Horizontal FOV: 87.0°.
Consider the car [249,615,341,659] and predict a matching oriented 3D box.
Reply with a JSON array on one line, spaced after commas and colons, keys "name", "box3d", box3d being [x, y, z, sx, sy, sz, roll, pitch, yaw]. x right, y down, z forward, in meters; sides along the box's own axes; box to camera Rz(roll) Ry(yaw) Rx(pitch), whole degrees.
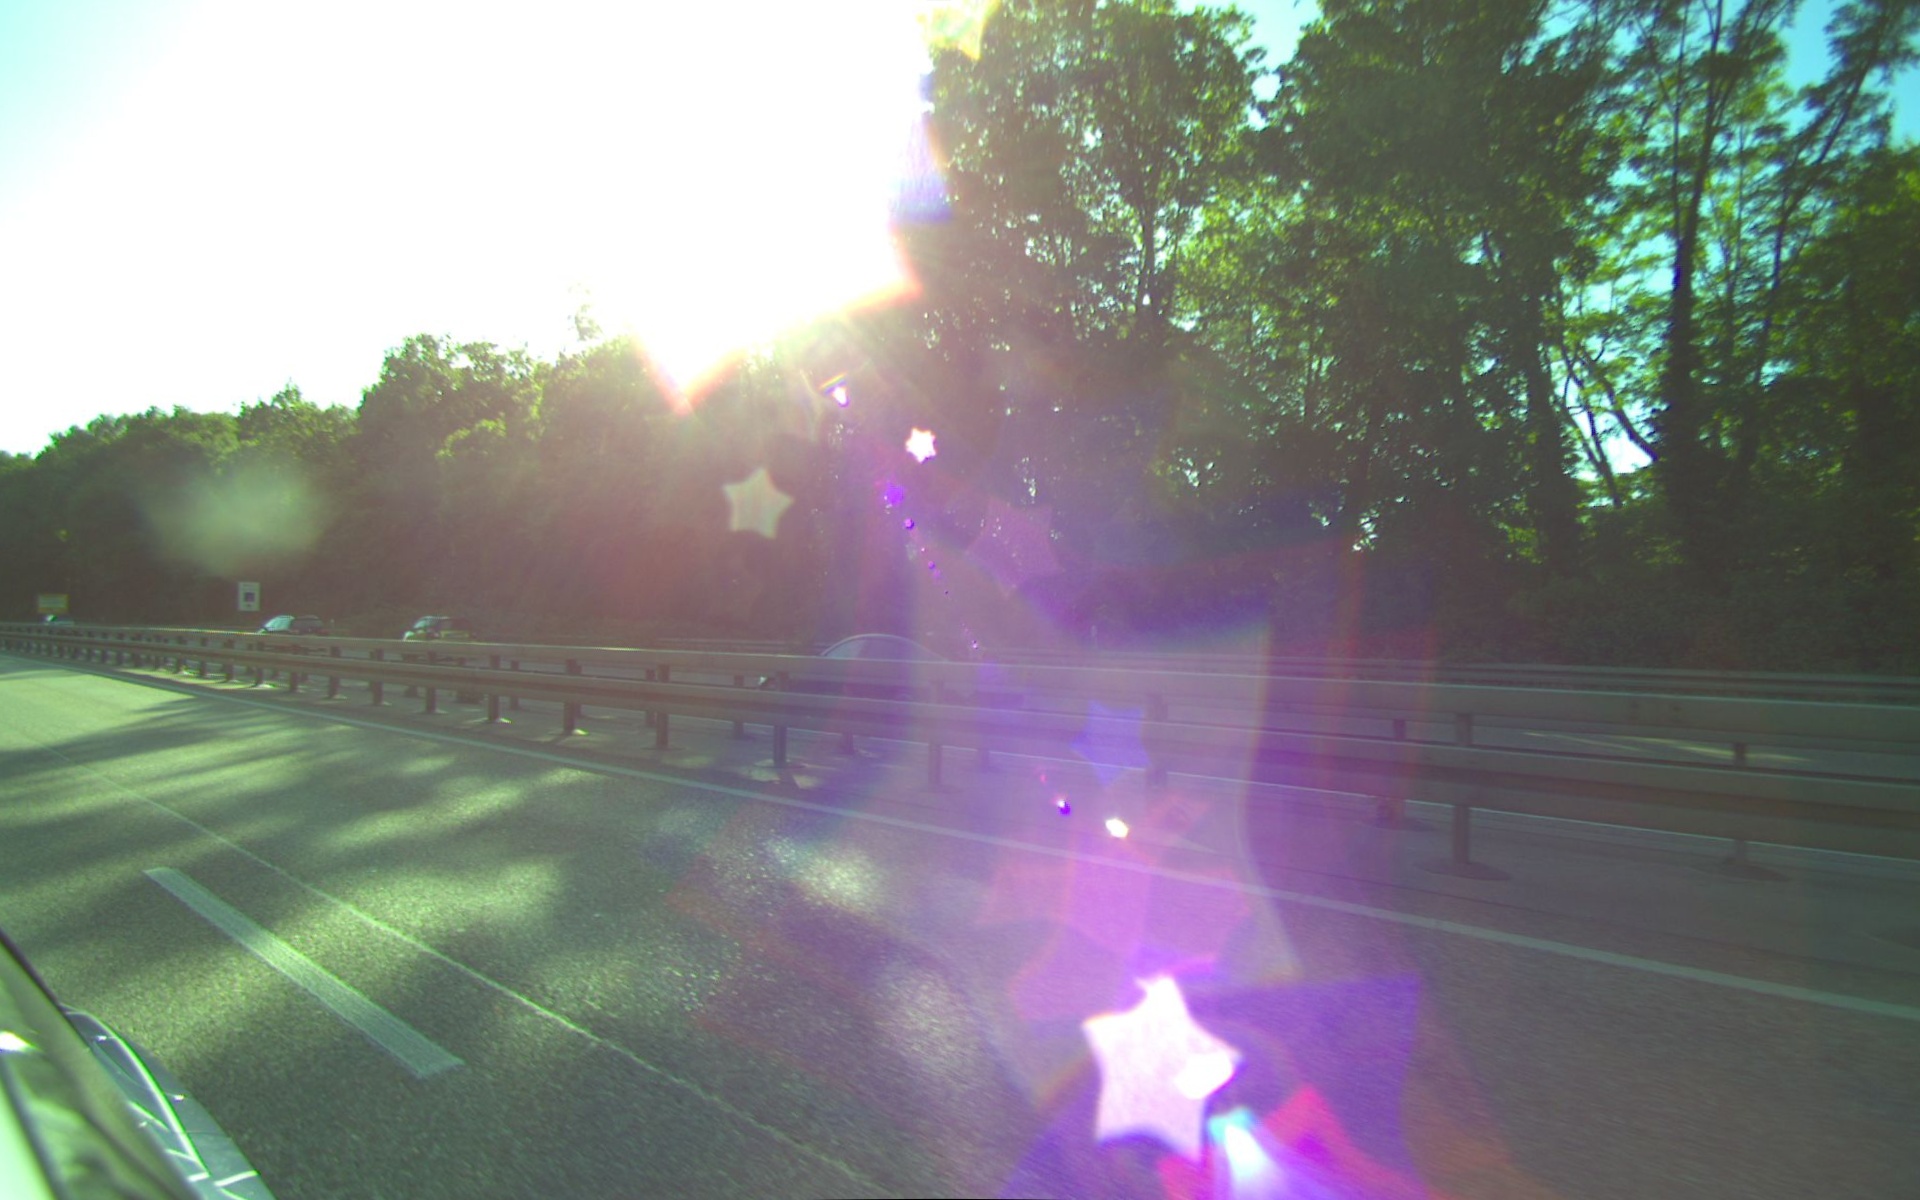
[{"name": "car", "box3d": [-28.566, 1.572, 43.434, 4.546, 1.763, 1.974, -1, -4, 39]}]

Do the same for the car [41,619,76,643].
[{"name": "car", "box3d": [-63.573, 2.155, 71.368, 2.872, 1.632, 1.400, -1, -2, 39]}]

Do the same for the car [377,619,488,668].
[{"name": "car", "box3d": [-18.413, 1.511, 35.267, 3.996, 1.597, 1.974, -1, -4, 39]}]

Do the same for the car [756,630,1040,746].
[{"name": "car", "box3d": [-1.034, 1.204, 14.973, 4.343, 1.464, 1.580, -1, -4, 42]}]
